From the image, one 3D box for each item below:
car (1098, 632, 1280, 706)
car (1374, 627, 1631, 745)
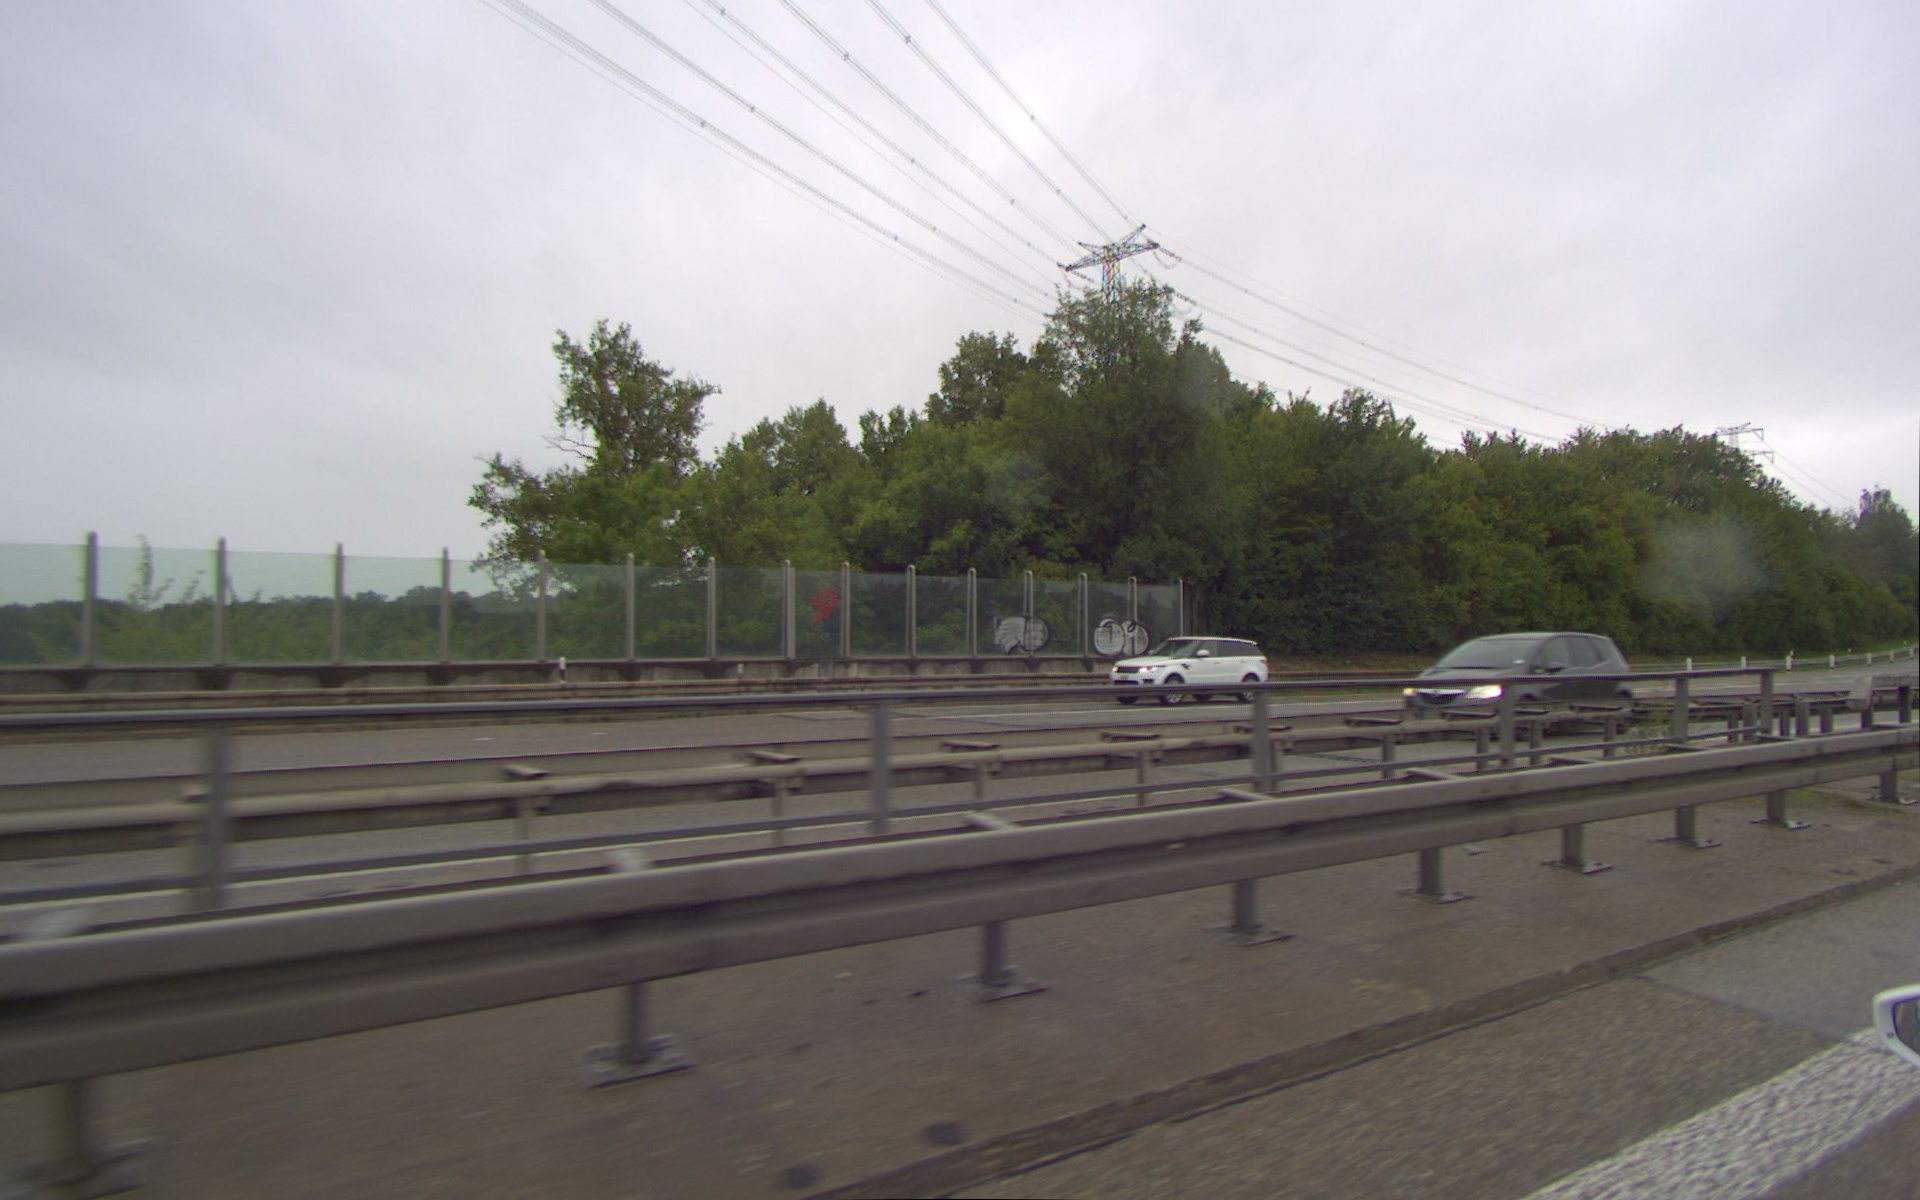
[{"bbox_3d":[6.273,1.811,27.351,4.861,1.843,1.939,1,-2,-32],"label":"car"},{"bbox_3d":[8.380,1.238,15.479,3.771,1.615,1.820,1,-2,-31],"label":"car"}]
